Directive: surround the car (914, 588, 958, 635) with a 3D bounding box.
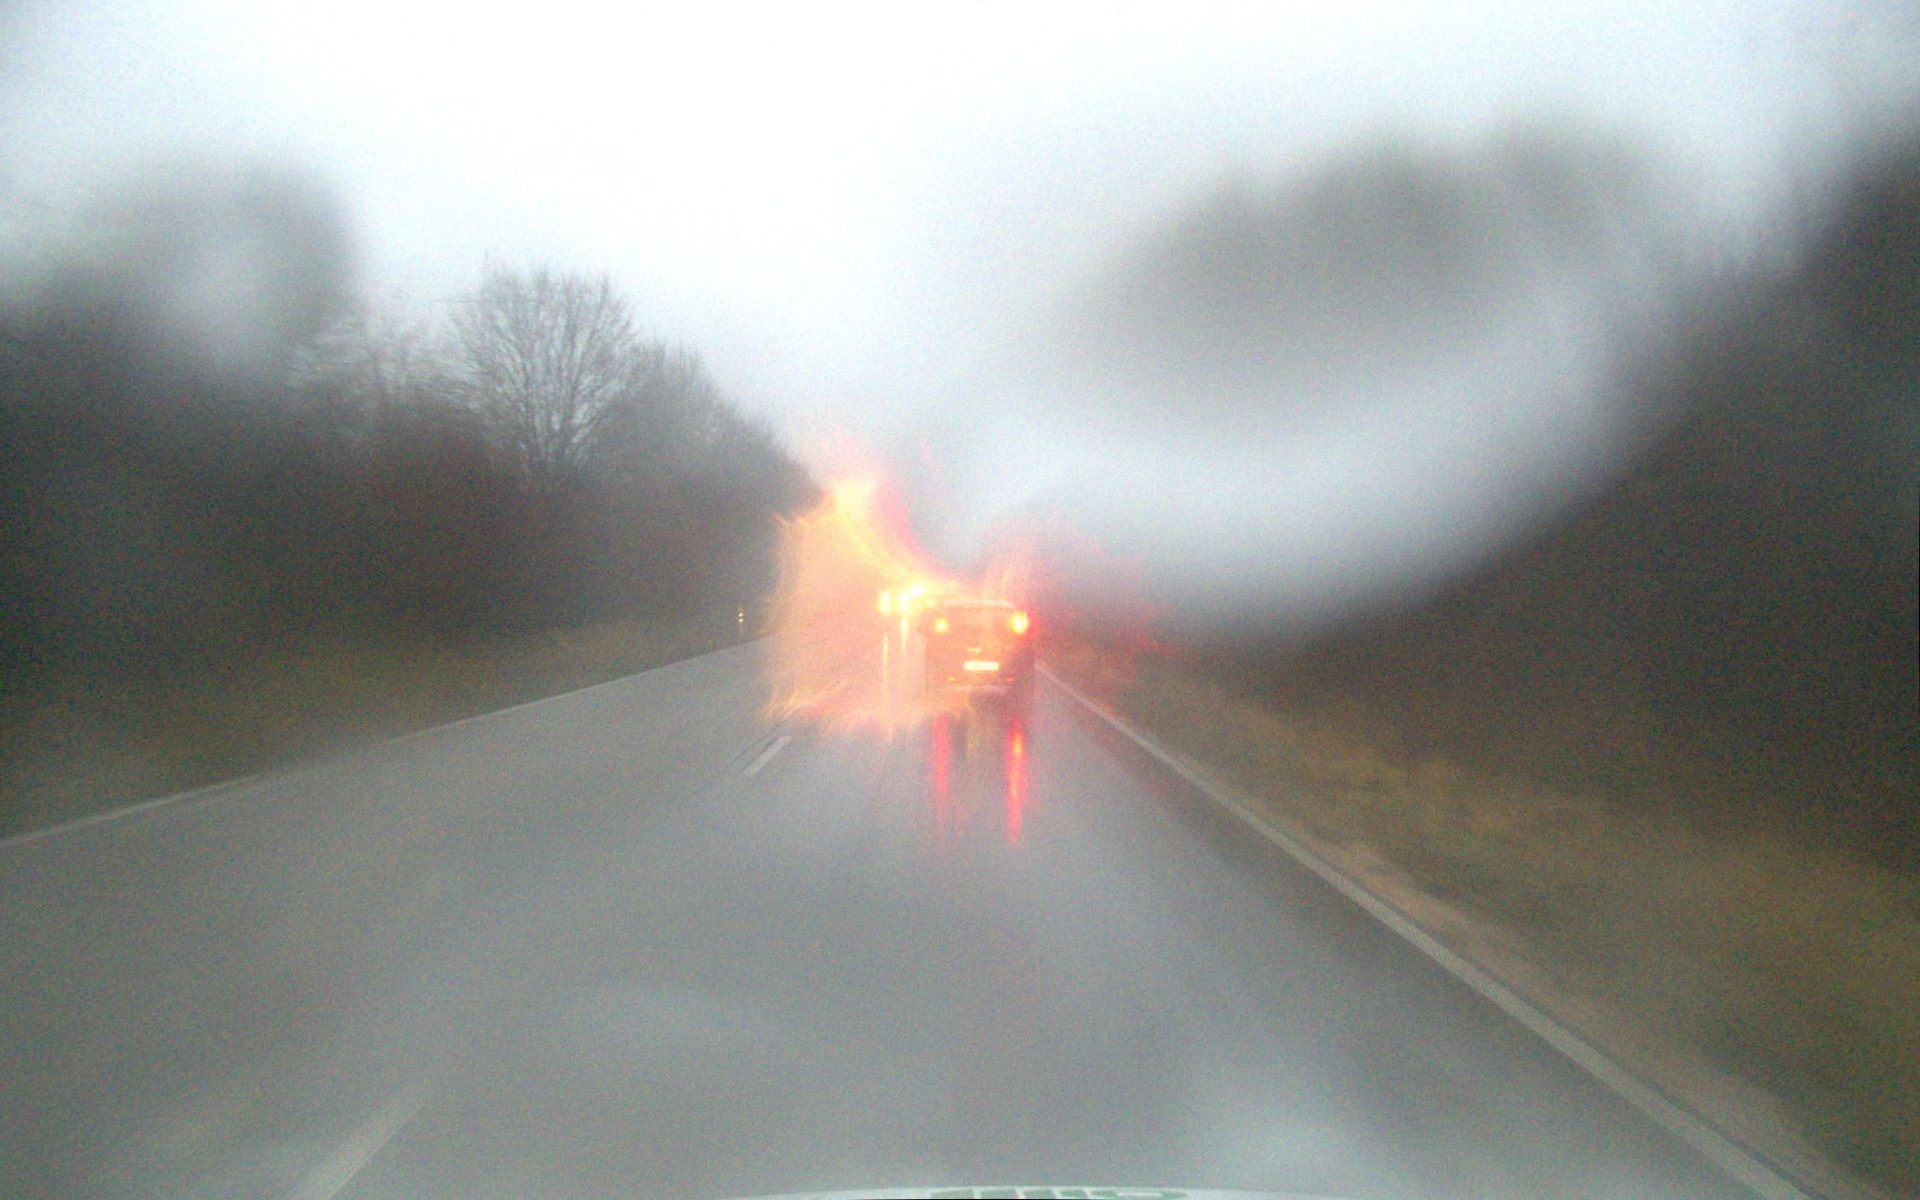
[{"bbox_3d":[-0.968,0.429,66.351,1.698,1.810,3.999,1,0,-1],"label":"car"}]

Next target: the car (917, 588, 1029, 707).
[{"bbox_3d":[0.171,0.687,25.816,1.614,1.701,3.513,1,0,-1],"label":"car"}]
